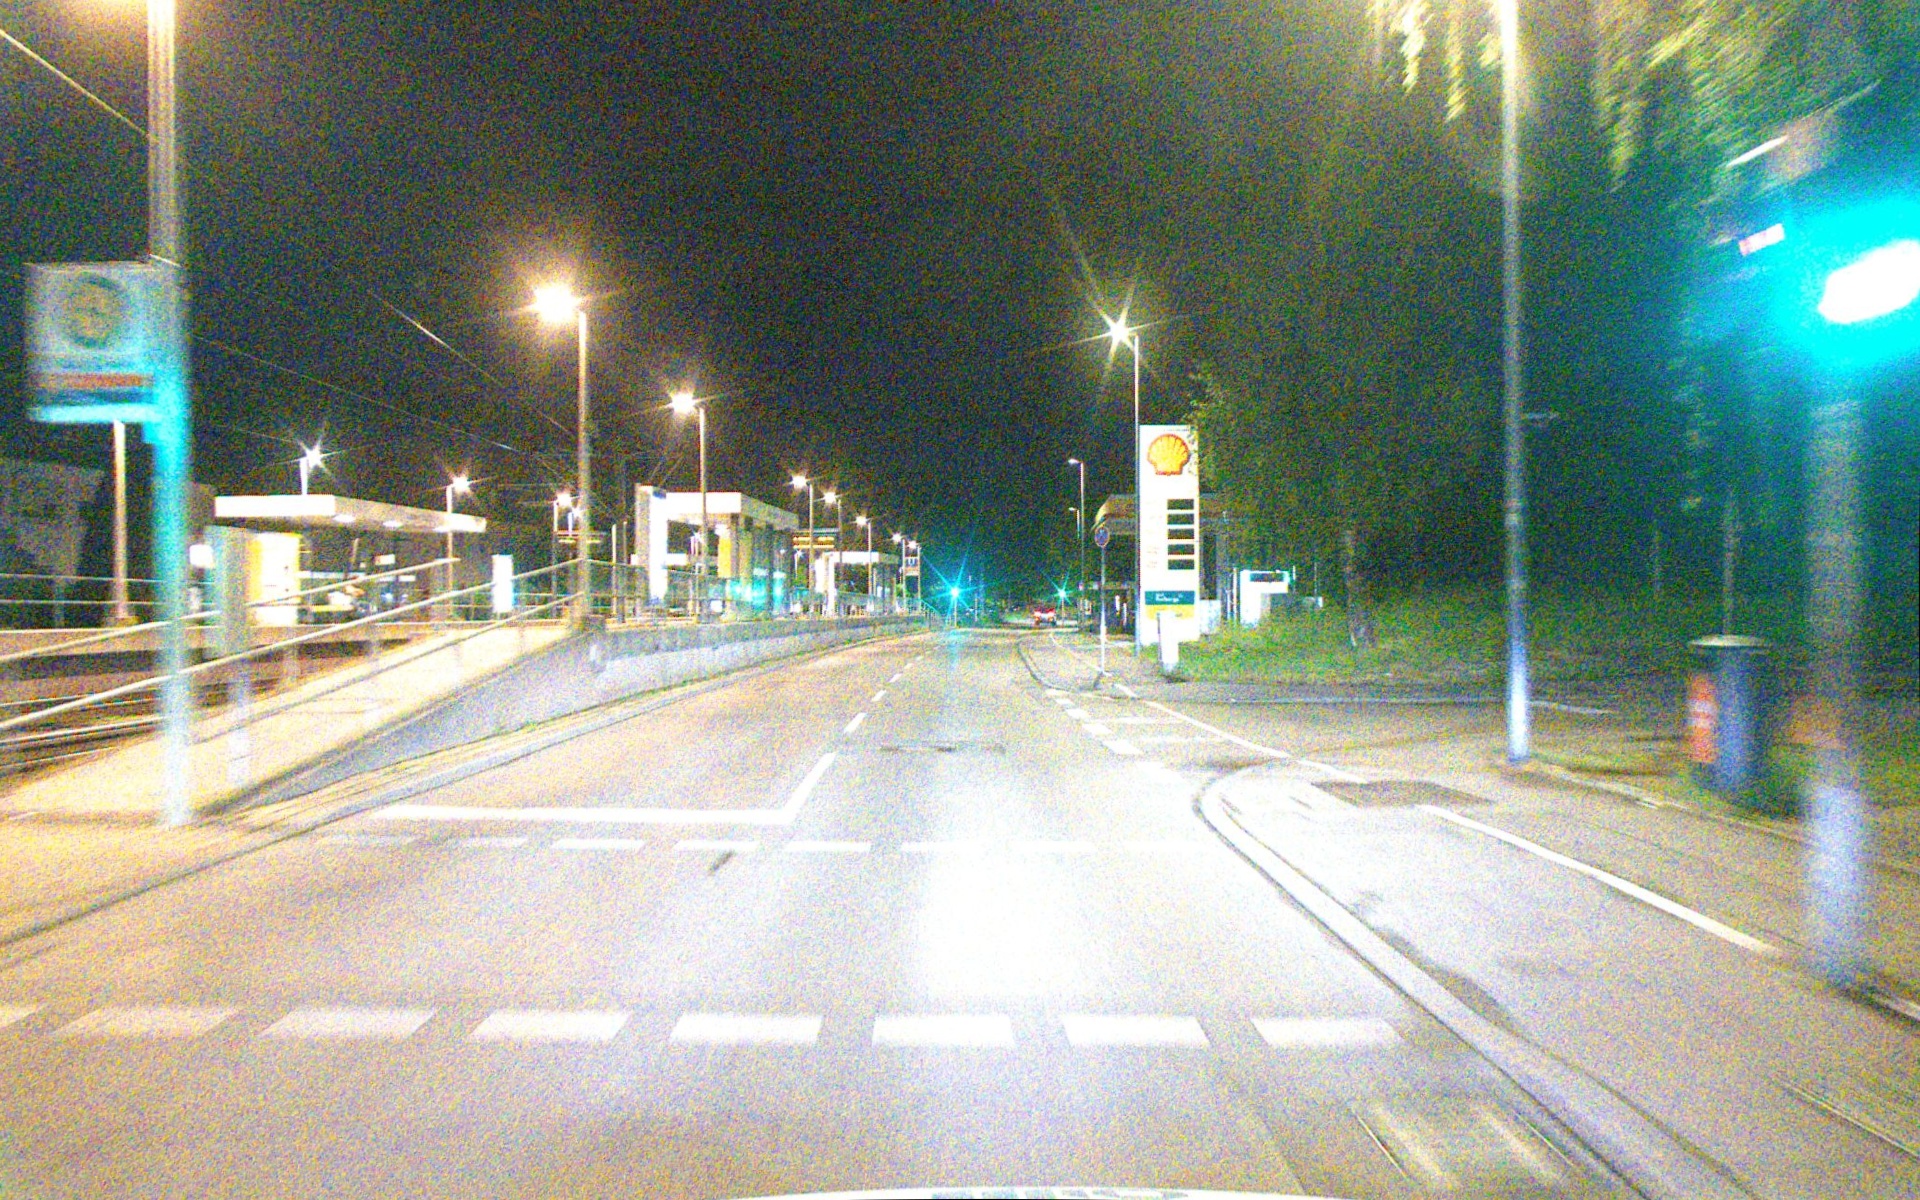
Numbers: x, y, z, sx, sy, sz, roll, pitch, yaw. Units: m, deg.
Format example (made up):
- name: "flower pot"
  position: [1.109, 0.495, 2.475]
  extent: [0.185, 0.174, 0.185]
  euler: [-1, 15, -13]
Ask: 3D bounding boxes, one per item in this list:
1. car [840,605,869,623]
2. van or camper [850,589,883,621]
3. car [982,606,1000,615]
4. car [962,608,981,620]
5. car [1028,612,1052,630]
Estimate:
- name: "car"
  position: [-8.946, 1.197, 140.808]
  extent: [1.611, 1.362, 4.546]
  euler: [-4, -1, 7]
- name: "van or camper"
  position: [-8.280, 0.439, 147.214]
  extent: [2.225, 2.693, 5.667]
  euler: [-2, 0, 4]
- name: "car"
  position: [4.548, 1.503, 241.814]
  extent: [1.951, 1.361, 5.436]
  euler: [0, 0, 7]
- name: "car"
  position: [1.509, 1.880, 221.762]
  extent: [1.951, 1.656, 4.681]
  euler: [0, 0, 7]
- name: "car"
  position: [7.325, 1.883, 151.596]
  extent: [2.116, 1.610, 4.015]
  euler: [0, 0, 3]
